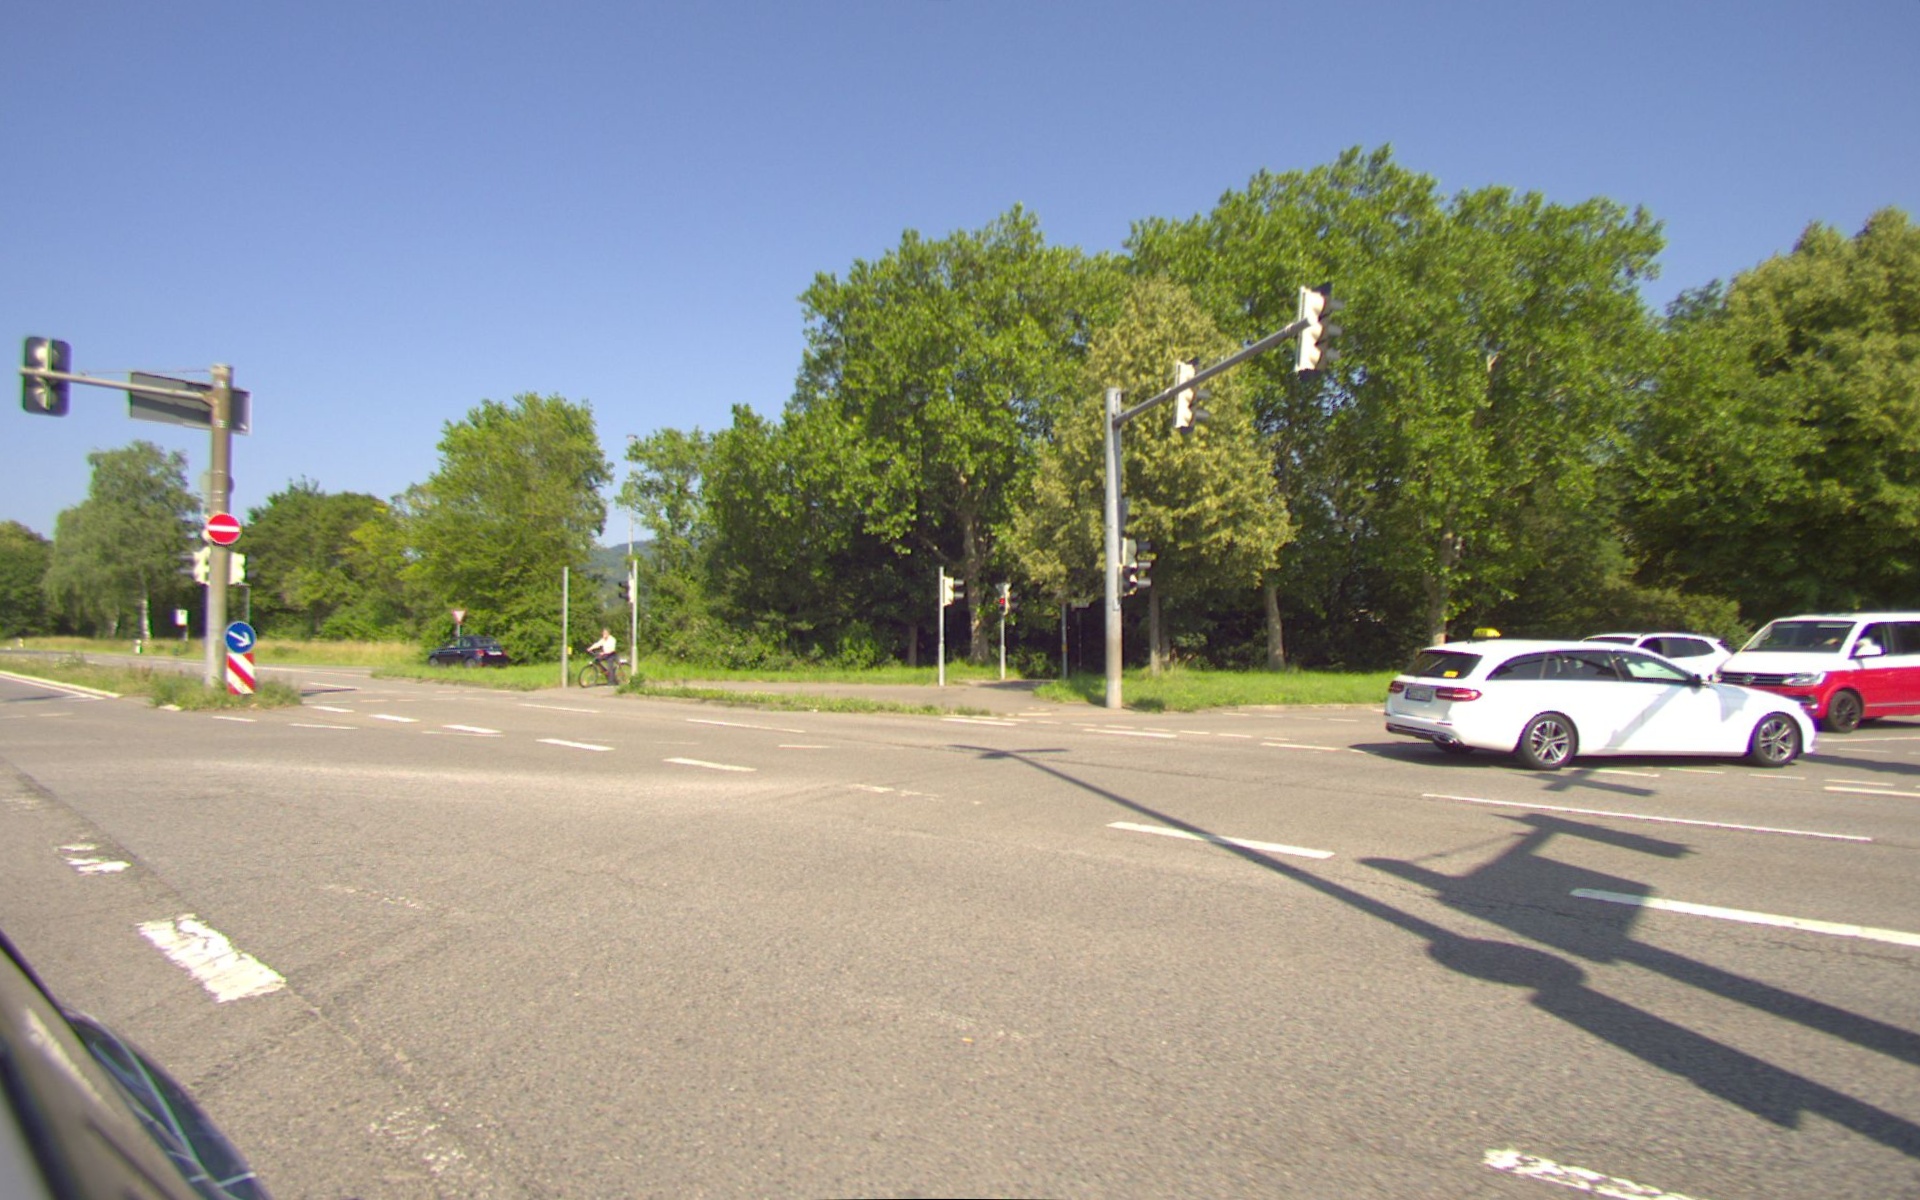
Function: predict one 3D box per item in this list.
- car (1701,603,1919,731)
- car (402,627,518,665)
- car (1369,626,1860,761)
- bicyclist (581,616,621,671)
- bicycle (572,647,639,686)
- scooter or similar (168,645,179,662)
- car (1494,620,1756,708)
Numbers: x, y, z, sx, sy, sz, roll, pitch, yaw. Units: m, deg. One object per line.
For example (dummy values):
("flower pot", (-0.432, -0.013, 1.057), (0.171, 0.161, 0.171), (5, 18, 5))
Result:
("car", (15.368, 1.093, 17.173), (4.577, 1.965, 2.005), (1, -2, -14))
("car", (-20.736, 1.897, 41.970), (4.255, 1.507, 1.985), (-1, -3, 22))
("car", (7.738, 1.087, 12.212), (4.893, 1.475, 1.821), (1, -2, -6))
("bicyclist", (-10.236, 1.239, 28.861), (0.837, 1.529, 0.747), (1, -2, -44))
("bicycle", (-10.130, 1.881, 28.948), (1.656, 1.049, 0.747), (0, -2, -44))
("scooter or similar", (-57.851, 3.918, 74.432), (1.340, 1.195, 0.364), (-1, -4, 41))
("car", (13.196, 1.246, 20.184), (4.196, 1.618, 2.010), (1, -2, -14))
